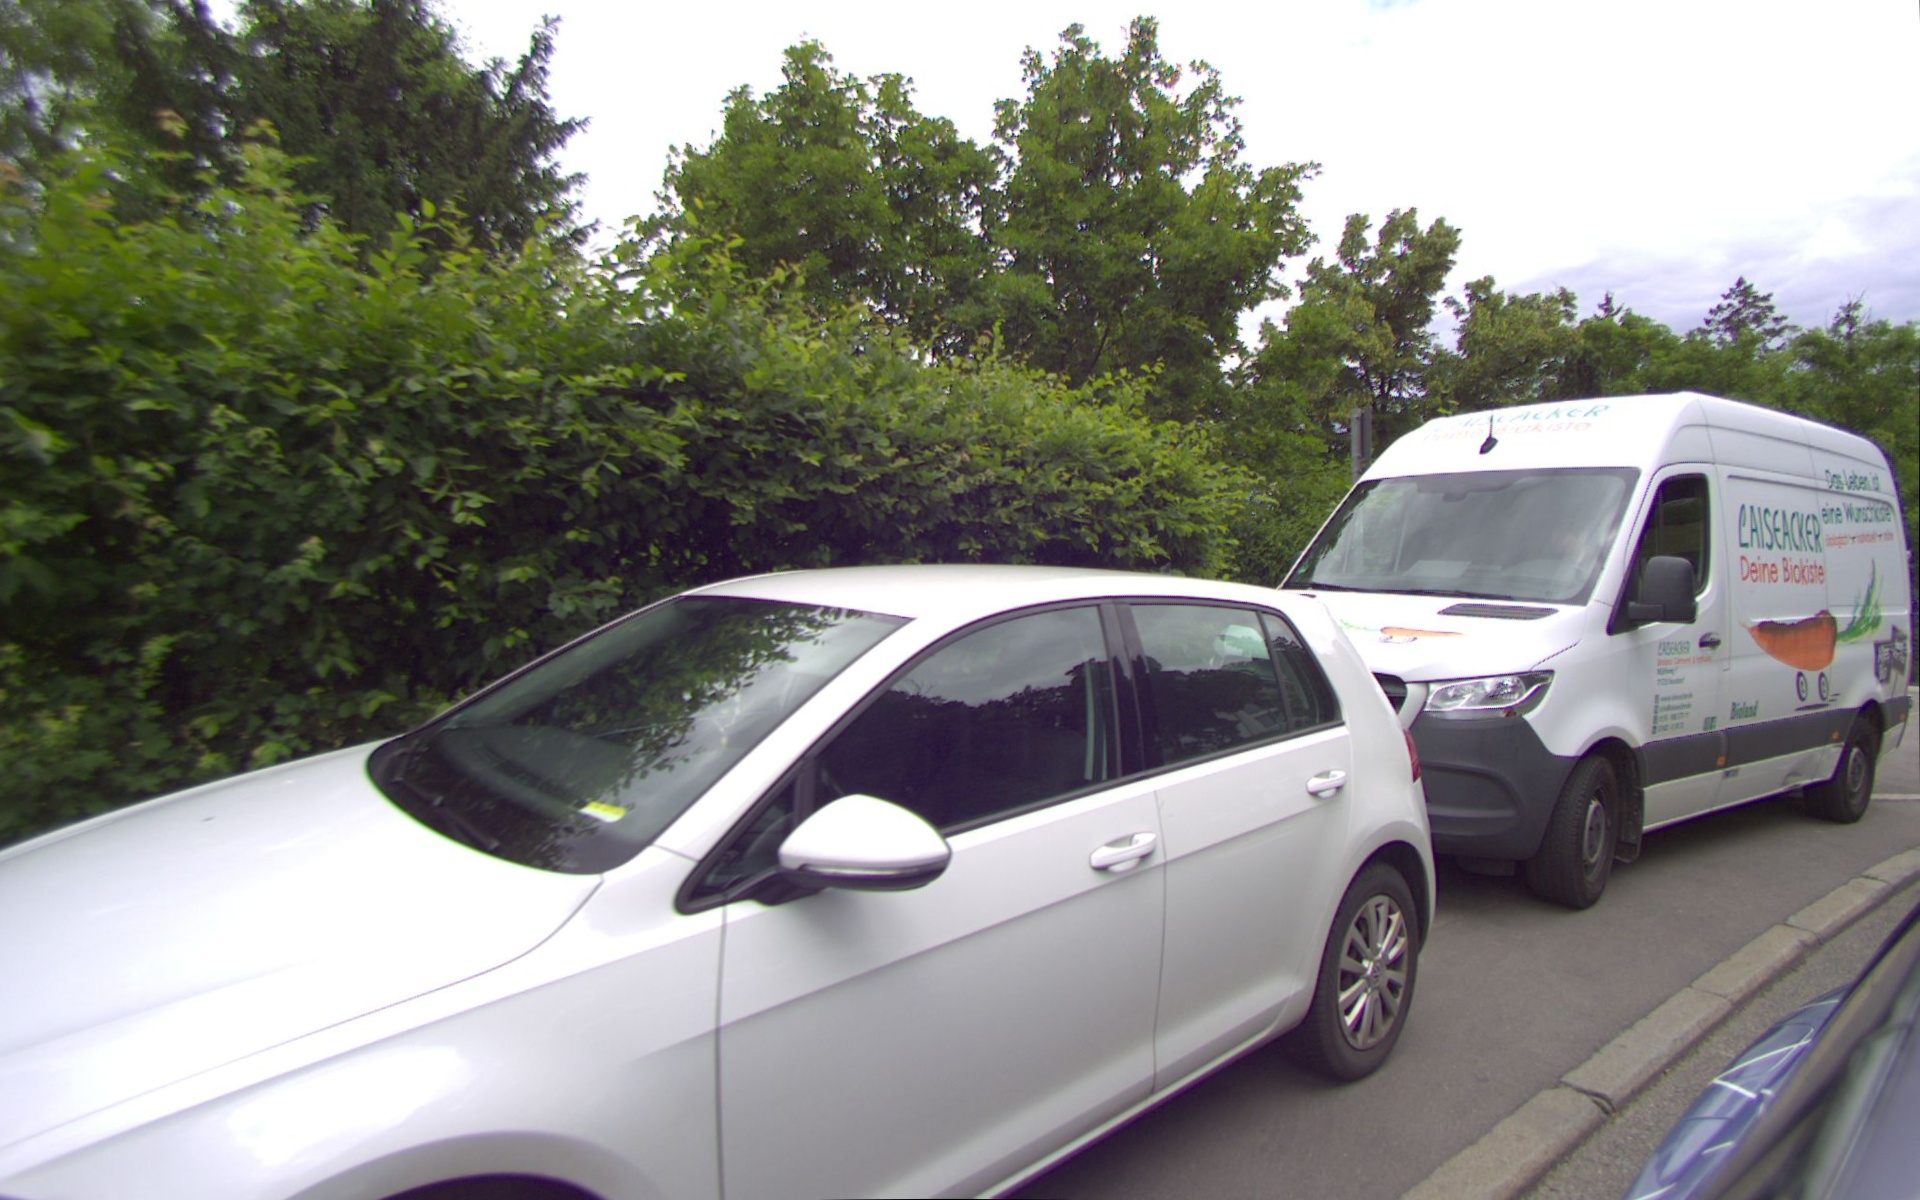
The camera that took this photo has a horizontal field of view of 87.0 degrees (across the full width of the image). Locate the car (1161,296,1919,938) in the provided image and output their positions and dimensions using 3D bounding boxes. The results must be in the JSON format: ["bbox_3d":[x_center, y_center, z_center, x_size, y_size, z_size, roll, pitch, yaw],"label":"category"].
[{"bbox_3d":[4.147,0.028,6.479,5.731,2.554,2.093,0,3,-33],"label":"car"}]

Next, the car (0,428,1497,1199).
[{"bbox_3d":[-0.271,0.540,2.654,3.768,1.482,1.704,0,2,-41],"label":"car"}]
